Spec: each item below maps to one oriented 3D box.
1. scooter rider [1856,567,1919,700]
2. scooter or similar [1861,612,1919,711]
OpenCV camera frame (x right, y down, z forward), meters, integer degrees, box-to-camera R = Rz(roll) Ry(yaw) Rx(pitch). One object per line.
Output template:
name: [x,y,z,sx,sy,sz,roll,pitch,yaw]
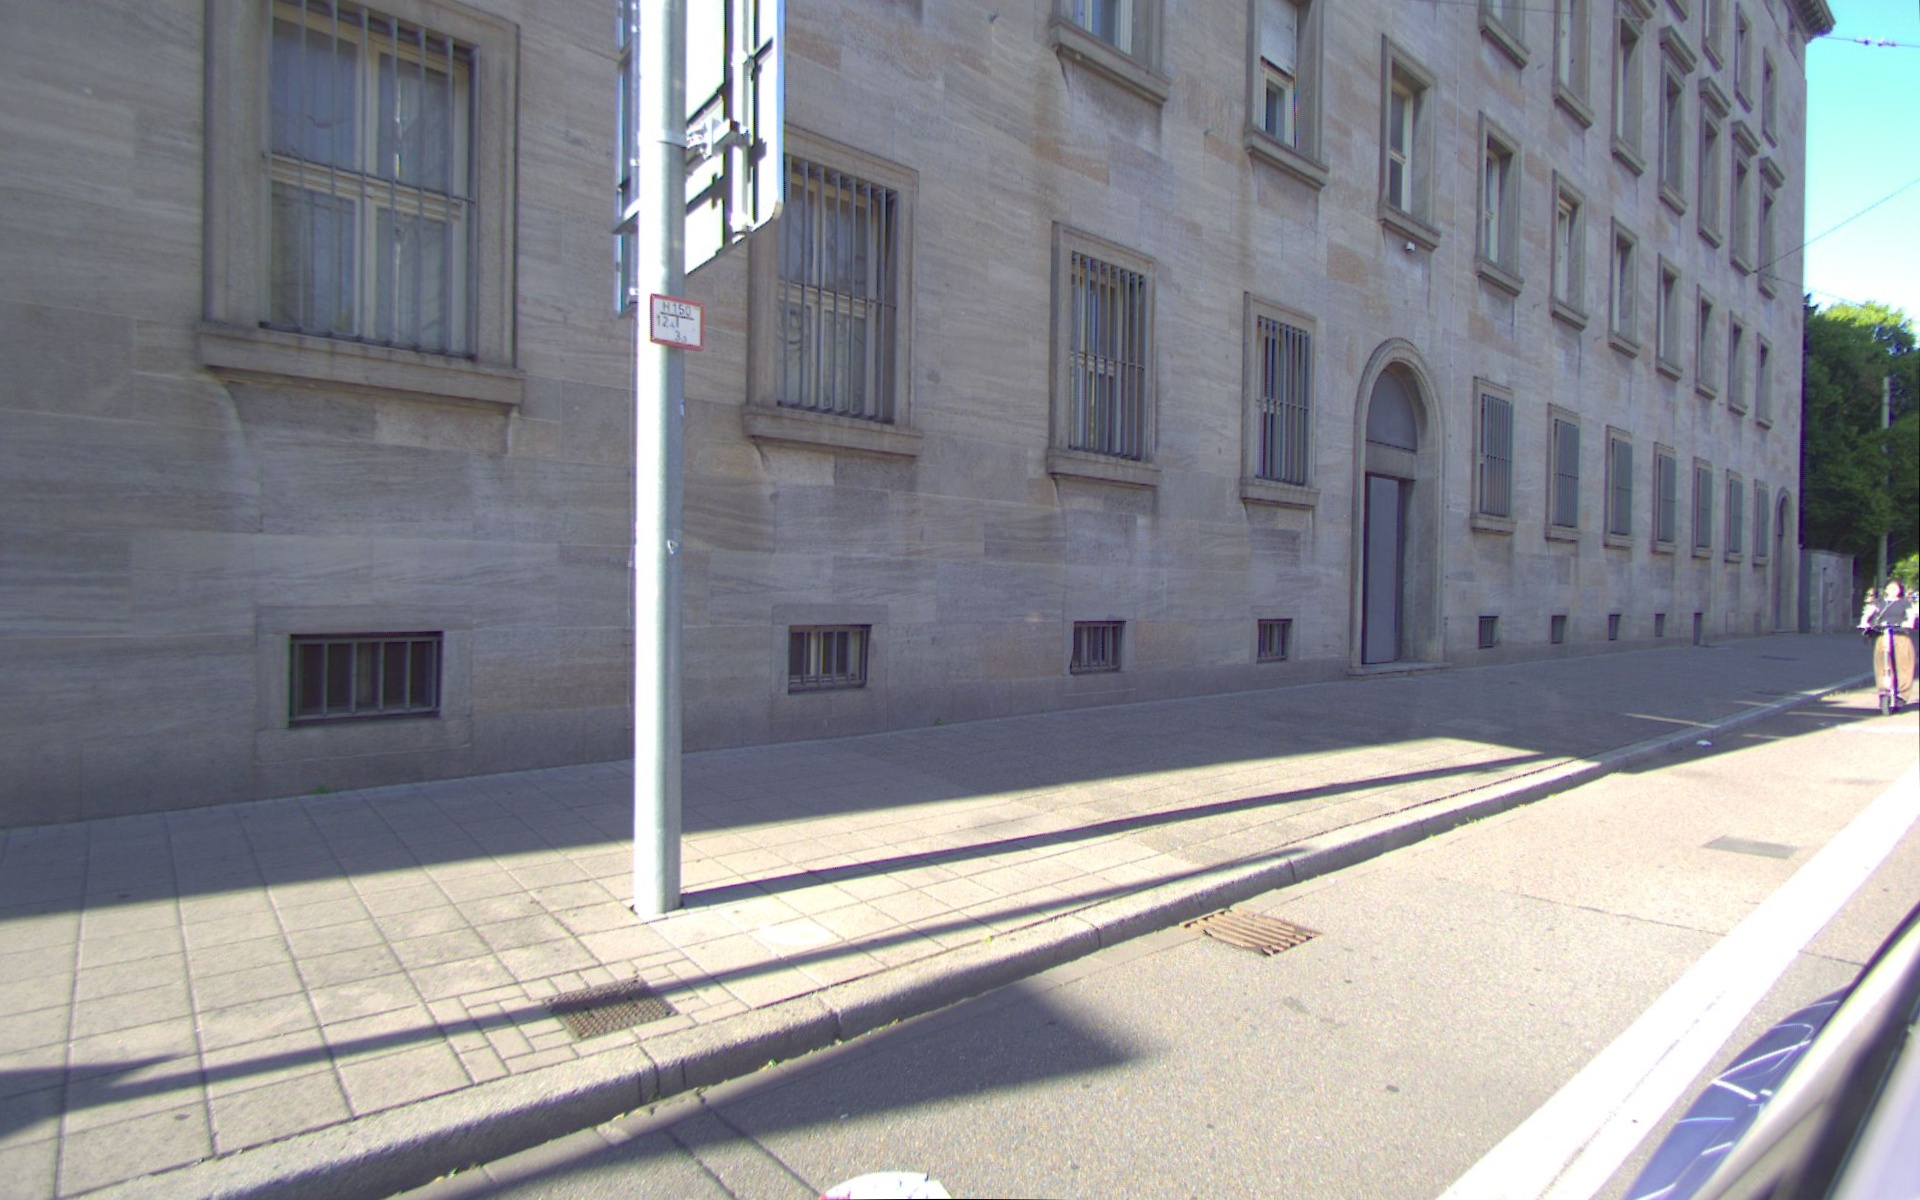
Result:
scooter rider: [12.295,0.425,13.277,0.547,1.692,0.730,0,1,-41]
scooter or similar: [12.288,0.779,13.283,1.305,1.200,0.535,0,1,-42]
